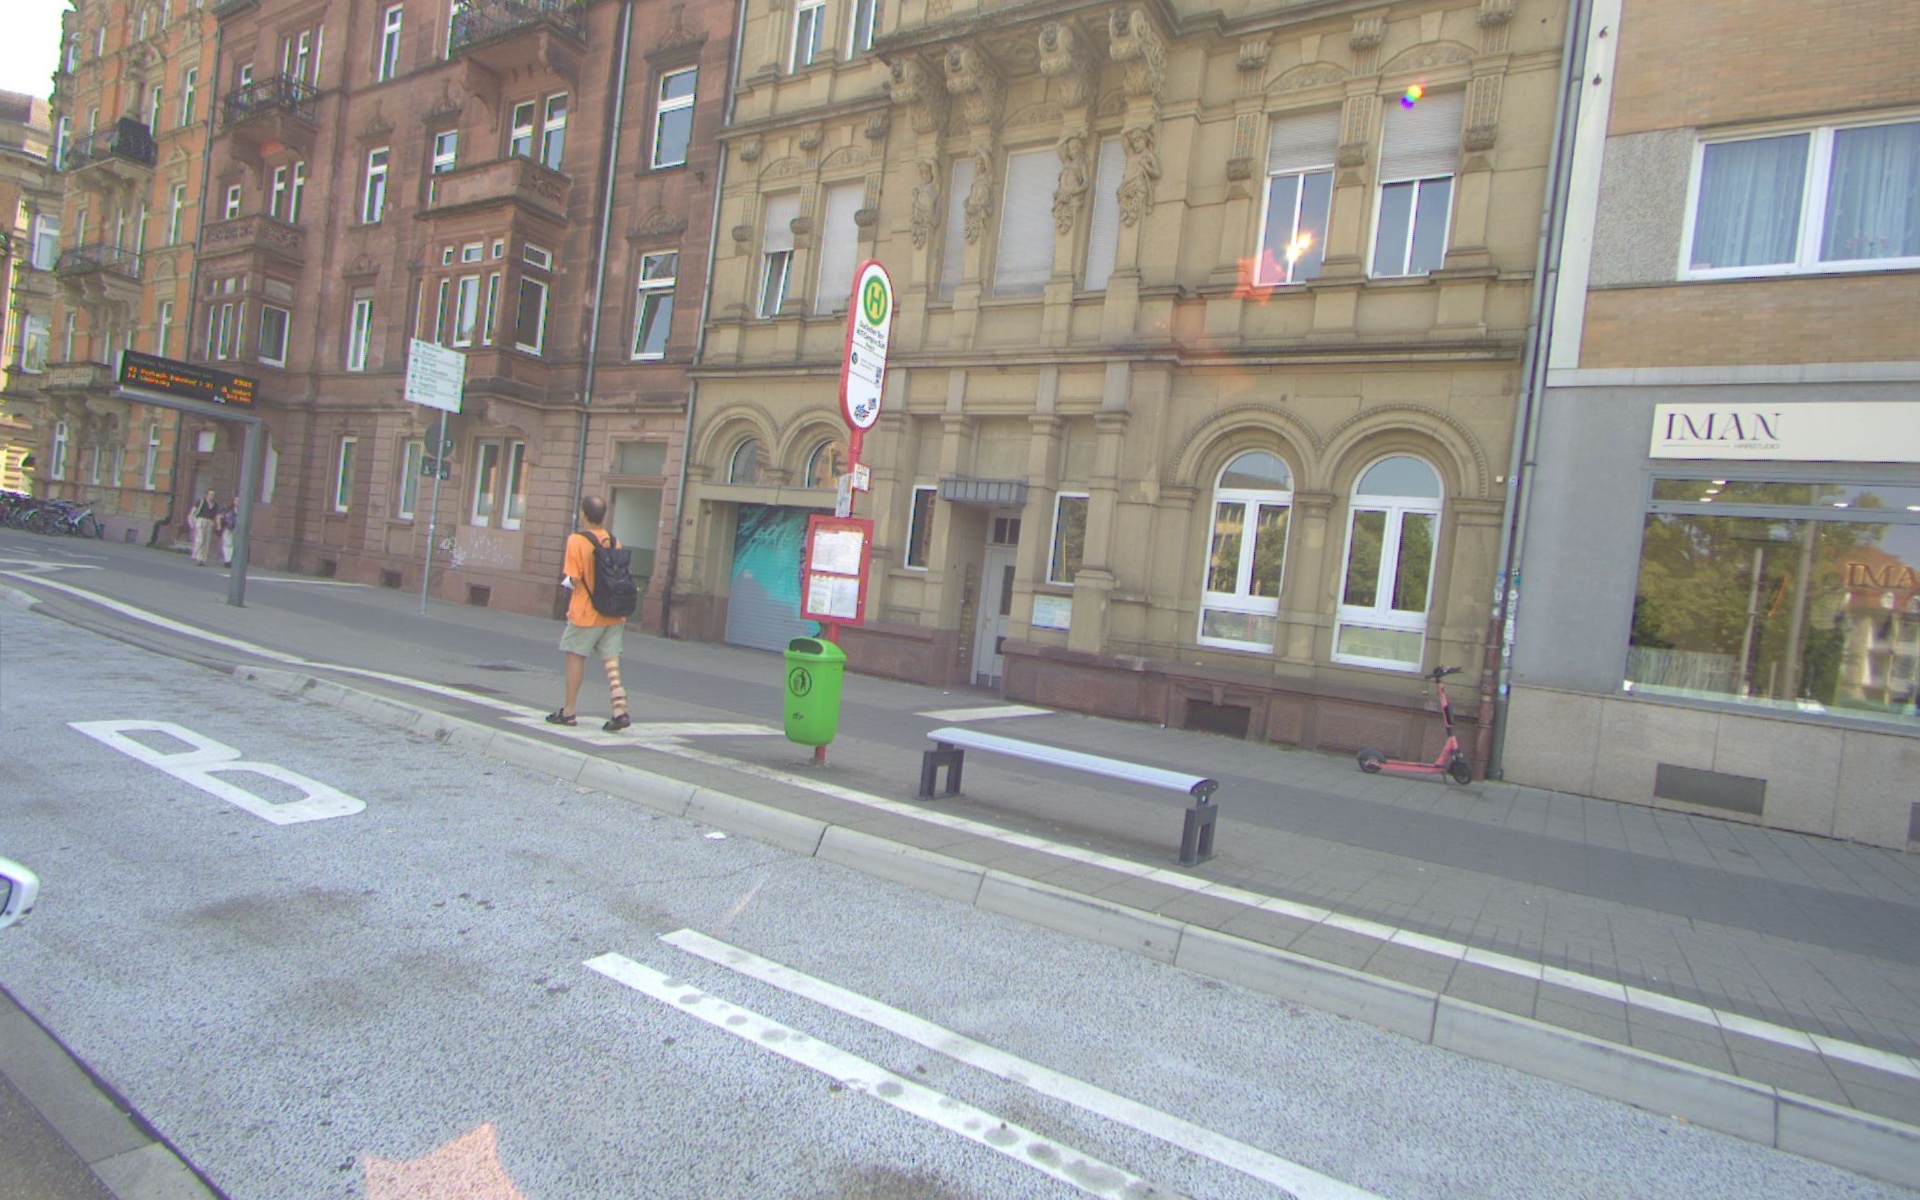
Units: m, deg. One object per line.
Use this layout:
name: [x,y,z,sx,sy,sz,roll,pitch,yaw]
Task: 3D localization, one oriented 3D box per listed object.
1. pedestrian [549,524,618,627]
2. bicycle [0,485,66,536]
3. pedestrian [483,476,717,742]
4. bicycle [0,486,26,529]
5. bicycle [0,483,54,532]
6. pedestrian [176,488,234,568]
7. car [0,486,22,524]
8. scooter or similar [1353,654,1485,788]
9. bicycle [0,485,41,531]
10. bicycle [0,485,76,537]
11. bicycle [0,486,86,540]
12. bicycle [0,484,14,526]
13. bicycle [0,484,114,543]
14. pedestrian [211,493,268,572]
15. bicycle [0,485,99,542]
pedestrian: [-7.035,-0.437,18.819,0.729,1.800,0.870,7,1,4]
bicycle: [-30.211,-2.917,31.552,0.932,1.390,3.007,7,0,31]
pedestrian: [-2.658,0.060,7.422,1.221,1.762,0.963,7,0,39]
bicycle: [-33.085,-3.244,33.274,0.932,1.390,3.007,7,0,31]
bicycle: [-31.106,-3.085,32.130,0.932,1.390,3.007,7,0,31]
pedestrian: [-18.091,-1.720,24.120,0.833,1.798,0.715,7,1,31]
car: [-42.001,-4.234,41.865,1.652,1.539,3.942,7,0,24]
scooter or similar: [4.882,1.256,10.718,1.122,1.228,0.476,7,1,27]
bicycle: [-31.970,-3.137,32.622,0.932,1.390,3.007,7,0,31]
bicycle: [-29.427,-2.833,31.062,0.857,1.388,2.997,7,0,31]
bicycle: [-28.657,-2.707,30.551,0.857,1.388,2.997,7,0,31]
bicycle: [-33.963,-3.414,33.779,0.932,1.390,3.007,7,0,31]
bicycle: [-27.074,-2.562,29.719,0.857,1.388,2.997,7,0,31]
pedestrian: [-17.742,-1.666,24.760,0.856,1.800,0.715,7,1,30]
bicycle: [-27.878,-2.631,30.110,0.857,1.388,2.997,7,0,31]
